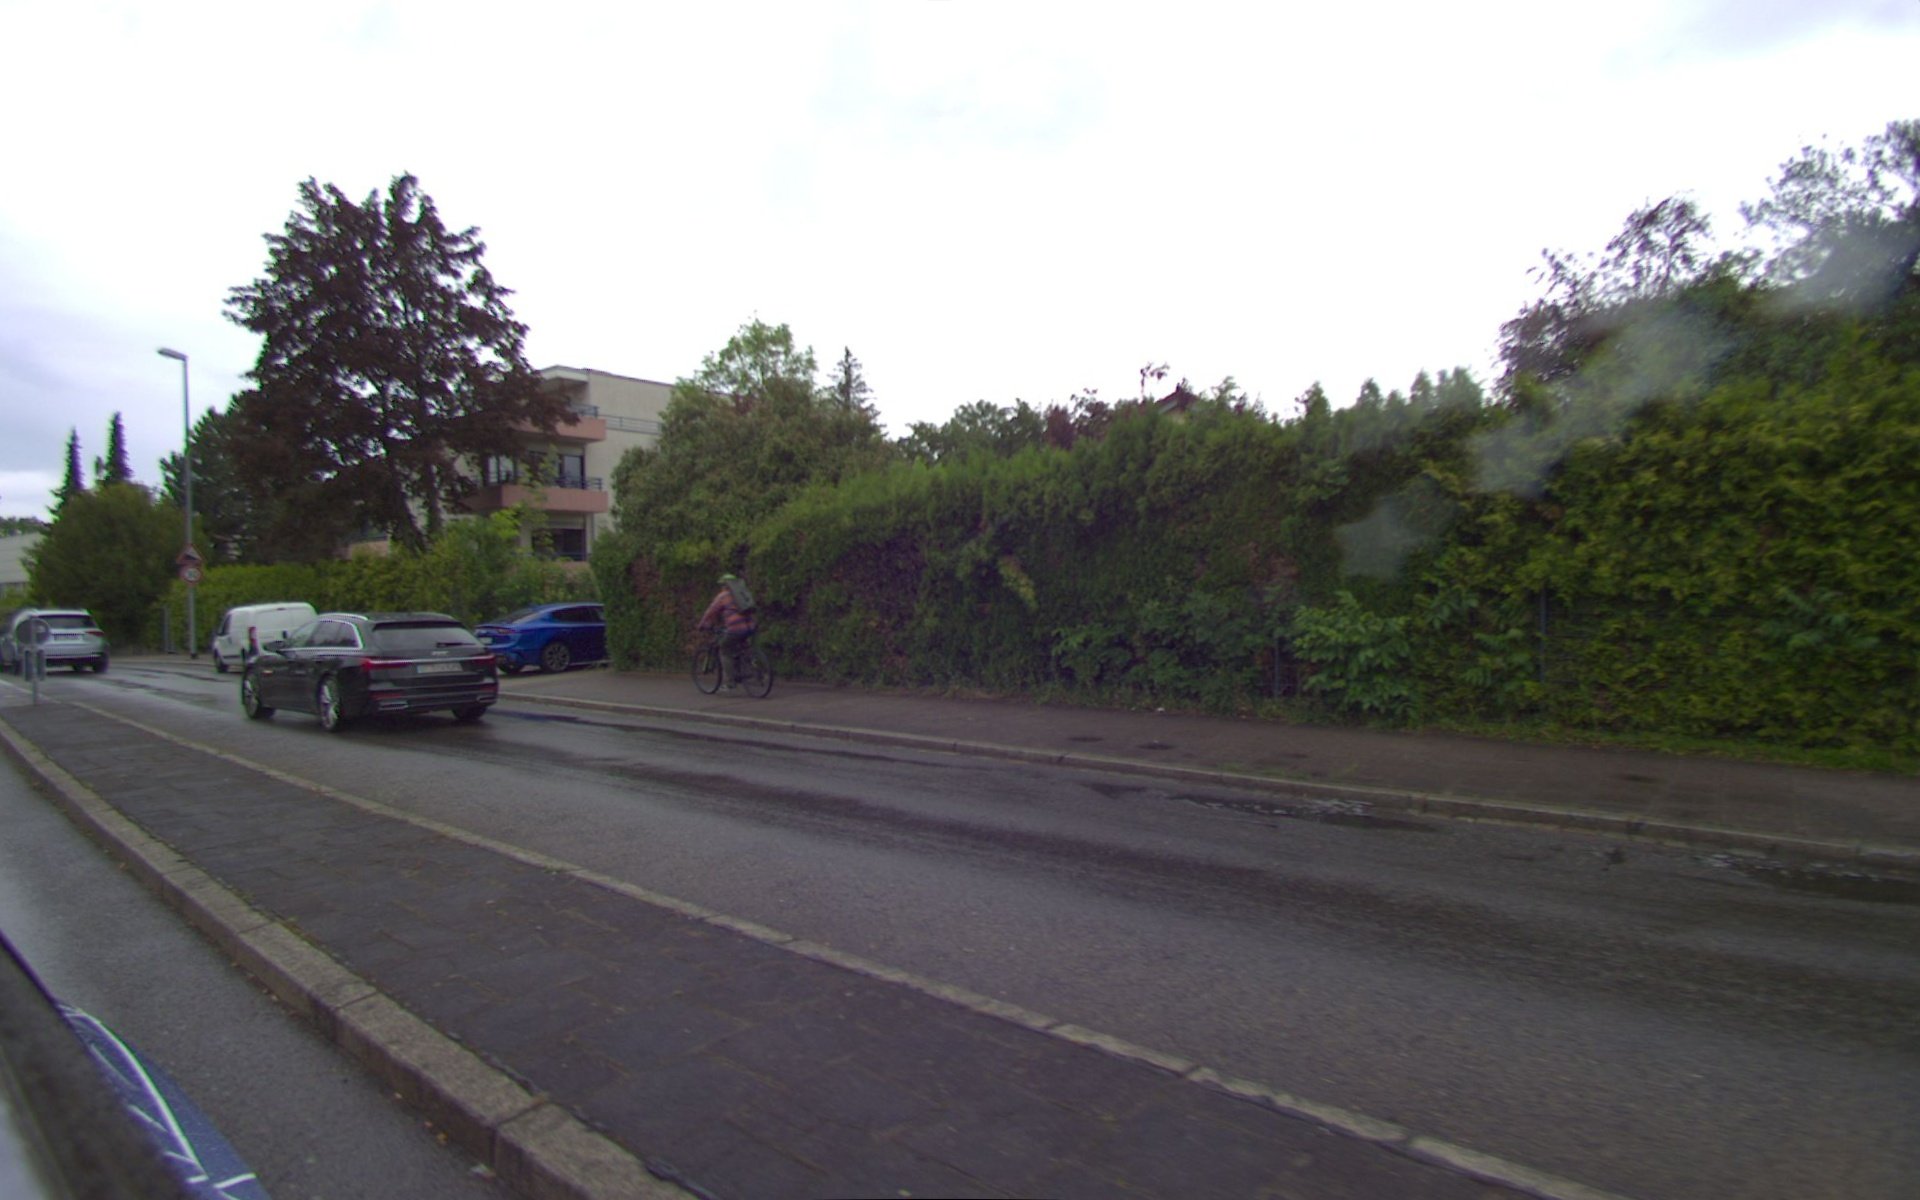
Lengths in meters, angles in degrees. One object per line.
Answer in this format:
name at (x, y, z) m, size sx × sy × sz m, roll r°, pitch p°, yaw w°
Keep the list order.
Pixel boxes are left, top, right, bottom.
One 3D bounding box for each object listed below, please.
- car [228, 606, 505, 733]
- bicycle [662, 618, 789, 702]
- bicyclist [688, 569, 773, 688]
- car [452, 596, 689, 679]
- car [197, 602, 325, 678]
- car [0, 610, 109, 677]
car at (-8.093, 0.834, 13.633) m, size 4.551 × 1.448 × 1.720 m, roll -1°, pitch -1°, yaw 39°
bicycle at (-3.417, 0.824, 14.638) m, size 1.988 × 1.094 × 0.739 m, roll -1°, pitch 2°, yaw 42°
bicyclist at (-3.278, 0.395, 14.446) m, size 0.868 × 1.624 × 0.756 m, roll -1°, pitch 1°, yaw 41°
car at (-8.226, 0.760, 21.781) m, size 1.802 × 1.372 × 4.443 m, roll -4°, pitch 1°, yaw 36°
car at (-18.310, 1.030, 26.455) m, size 3.976 × 1.720 × 1.684 m, roll -2°, pitch 3°, yaw 41°
car at (-25.711, 1.194, 28.393) m, size 4.476 × 1.729 × 2.021 m, roll -2°, pitch -2°, yaw 39°
